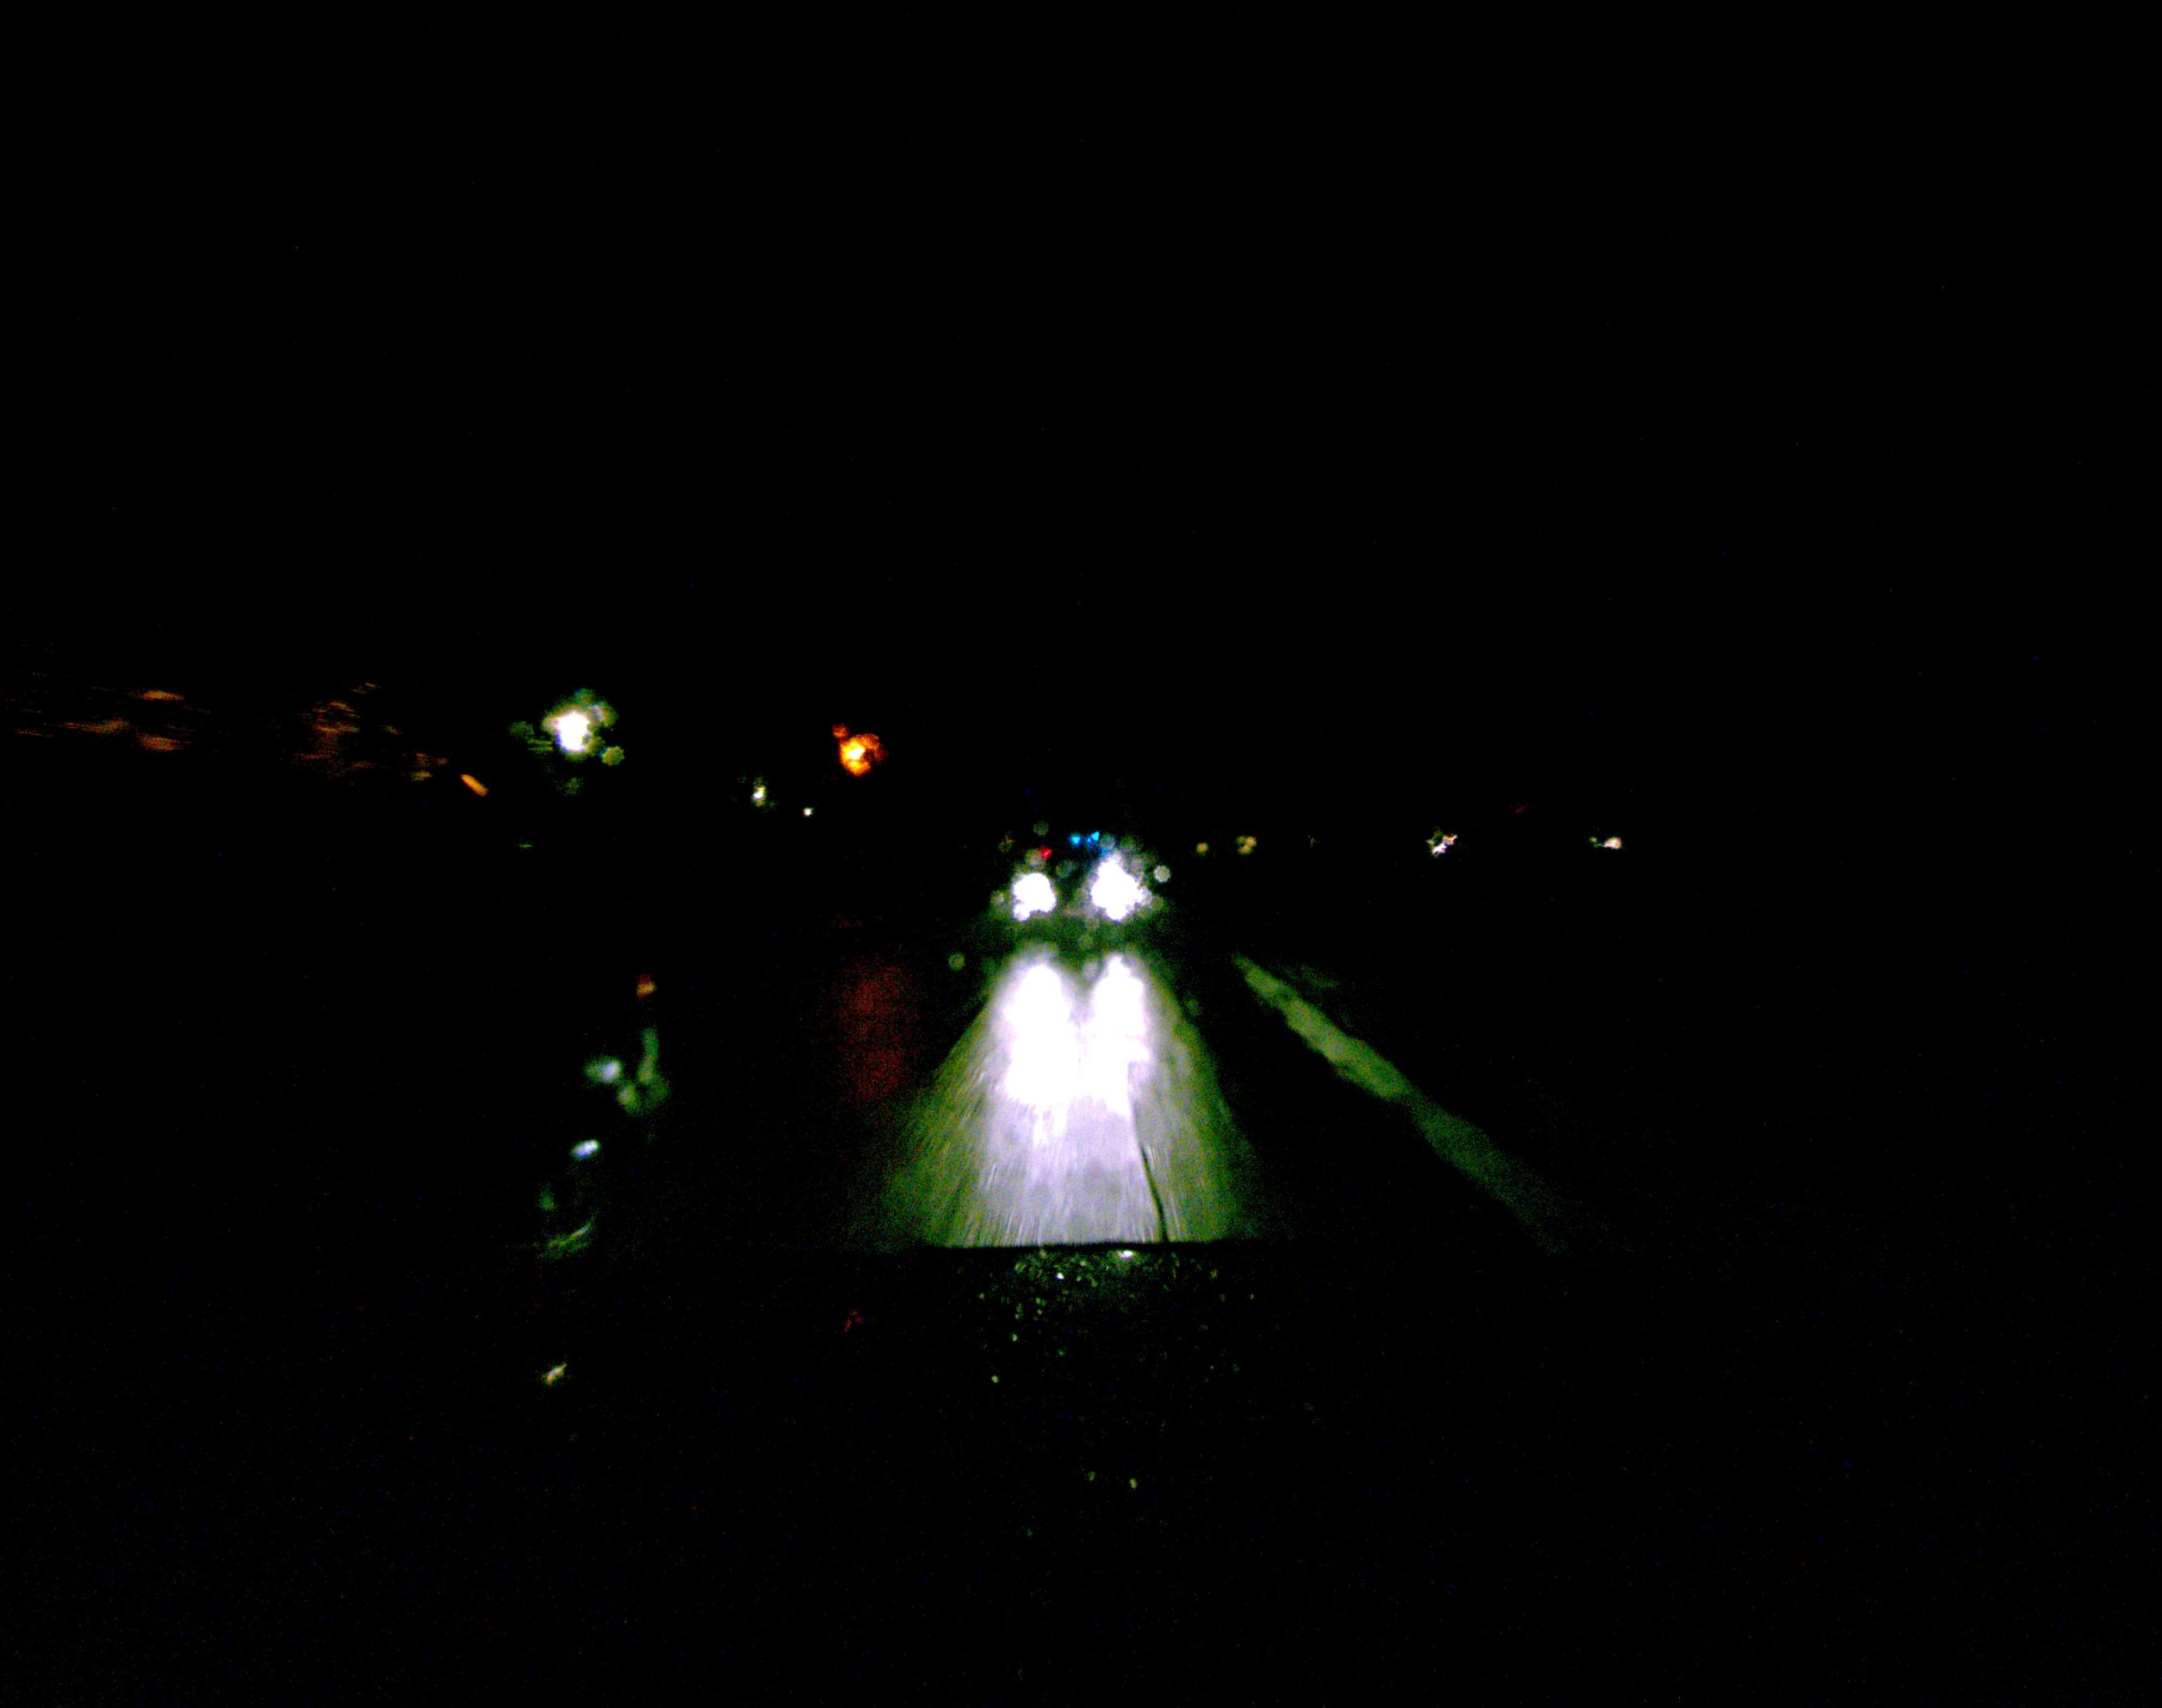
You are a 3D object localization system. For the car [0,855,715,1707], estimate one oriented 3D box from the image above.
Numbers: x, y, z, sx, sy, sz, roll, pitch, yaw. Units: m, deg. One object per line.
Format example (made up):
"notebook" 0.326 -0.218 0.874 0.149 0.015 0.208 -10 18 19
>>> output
"car" -2.652 0.934 1.052 1.839 1.725 4.940 -3 1 0

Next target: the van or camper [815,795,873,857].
"van or camper" -11.827 -1.313 37.938 2.417 2.777 5.764 -3 1 -17

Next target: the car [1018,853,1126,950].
"car" -0.080 0.831 15.448 1.826 1.573 4.354 -2 1 2

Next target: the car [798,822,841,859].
"car" -15.276 -0.764 44.554 2.001 2.002 3.995 -3 1 -15
